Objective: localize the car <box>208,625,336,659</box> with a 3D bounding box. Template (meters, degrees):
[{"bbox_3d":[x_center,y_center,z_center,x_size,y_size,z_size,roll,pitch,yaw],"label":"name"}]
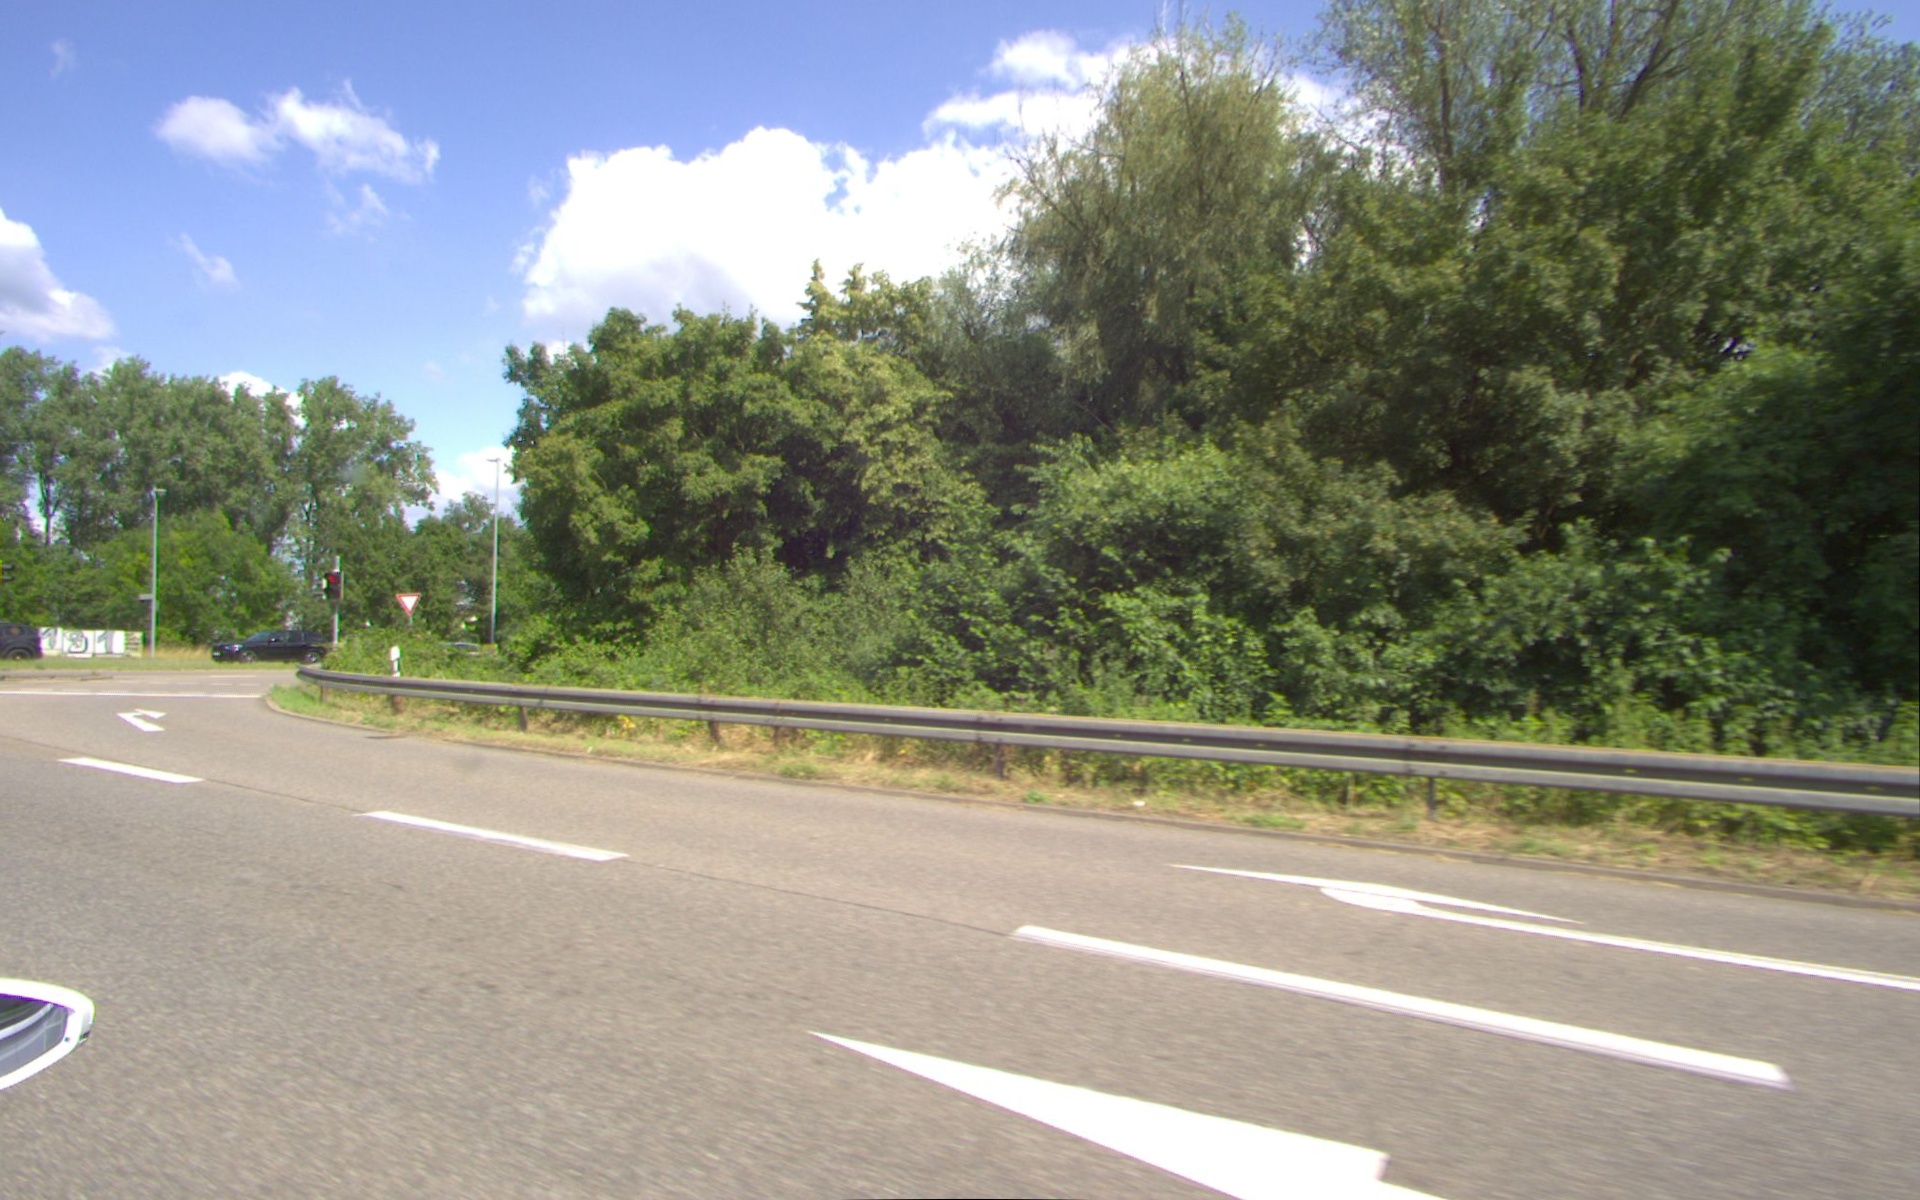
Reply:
[{"bbox_3d":[-33.072,2.011,48.309,1.710,1.564,4.845,0,-2,29],"label":"car"}]

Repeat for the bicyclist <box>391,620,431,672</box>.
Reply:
[{"bbox_3d":[-16.985,1.427,30.991,0.659,1.580,0.837,0,-2,9],"label":"bicyclist"}]

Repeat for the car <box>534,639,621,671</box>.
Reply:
[{"bbox_3d":[-19.317,2.825,50.728,1.708,1.494,4.039,0,-4,24],"label":"car"}]

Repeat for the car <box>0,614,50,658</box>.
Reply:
[{"bbox_3d":[-35.202,1.256,35.314,1.710,1.564,4.266,0,-2,29],"label":"car"}]
